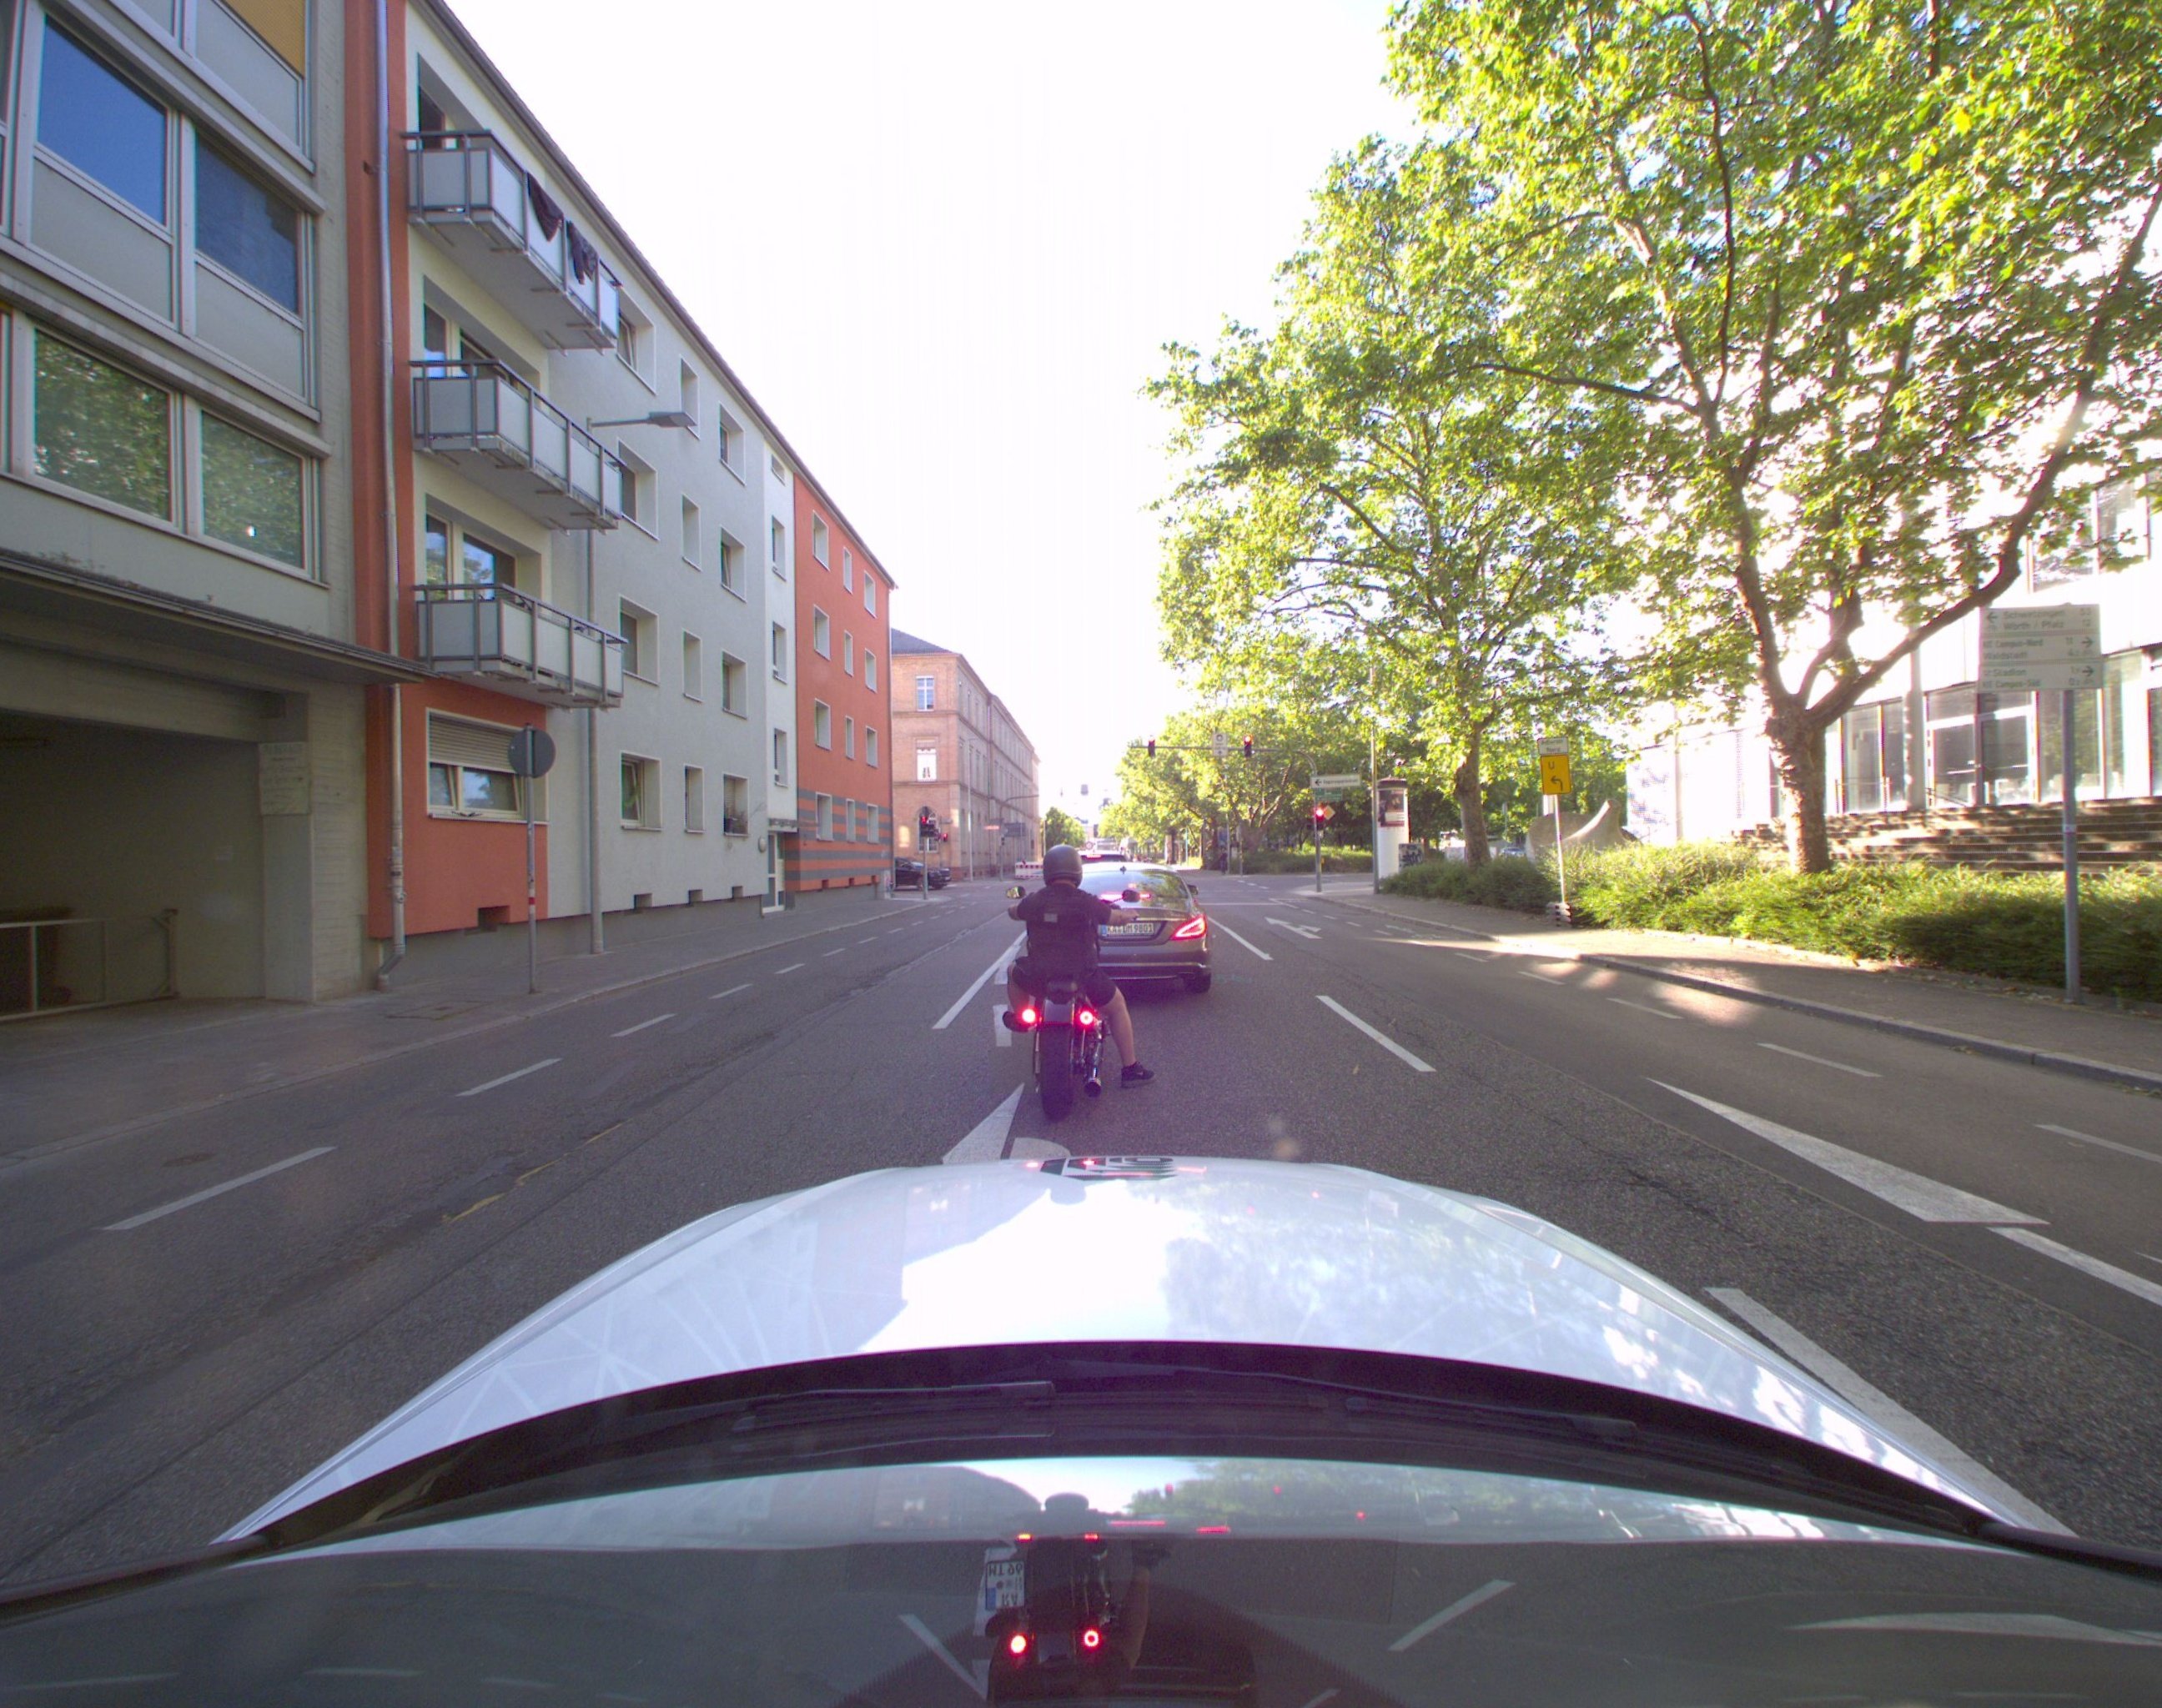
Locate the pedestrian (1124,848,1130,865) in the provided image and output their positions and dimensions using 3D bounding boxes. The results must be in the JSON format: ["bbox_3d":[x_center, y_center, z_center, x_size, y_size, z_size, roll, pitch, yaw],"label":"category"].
[{"bbox_3d":[5.705,0.284,100.874,0.761,2.051,0.712,0,-1,1],"label":"pedestrian"}]

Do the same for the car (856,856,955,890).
[{"bbox_3d":[-8.466,0.898,39.542,4.355,1.570,1.856,0,-1,1],"label":"car"}]

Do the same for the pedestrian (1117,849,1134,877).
[{"bbox_3d":[2.856,0.585,52.642,0.996,1.826,1.078,0,-1,8],"label":"pedestrian"}]

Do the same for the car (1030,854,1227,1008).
[{"bbox_3d":[0.516,0.741,9.719,1.875,1.449,3.821,0,0,2],"label":"car"}]

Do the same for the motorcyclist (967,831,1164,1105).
[{"bbox_3d":[-0.072,0.673,5.419,1.145,1.598,1.288,0,-1,1],"label":"motorcyclist"}]

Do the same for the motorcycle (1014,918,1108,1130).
[{"bbox_3d":[-0.077,1.006,5.443,0.511,1.002,2.014,0,-1,2],"label":"motorcycle"}]

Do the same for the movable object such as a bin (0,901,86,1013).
[{"bbox_3d":[-11.258,1.066,8.623,0.626,1.100,0.659,0,-1,4],"label":"movable object such as a bin"}]

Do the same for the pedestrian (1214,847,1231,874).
[{"bbox_3d":[10.208,0.477,58.779,0.753,1.910,0.918,0,-1,-26],"label":"pedestrian"}]

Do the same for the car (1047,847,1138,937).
[{"bbox_3d":[0.275,0.694,16.848,1.615,1.594,4.002,-1,0,2],"label":"car"}]
